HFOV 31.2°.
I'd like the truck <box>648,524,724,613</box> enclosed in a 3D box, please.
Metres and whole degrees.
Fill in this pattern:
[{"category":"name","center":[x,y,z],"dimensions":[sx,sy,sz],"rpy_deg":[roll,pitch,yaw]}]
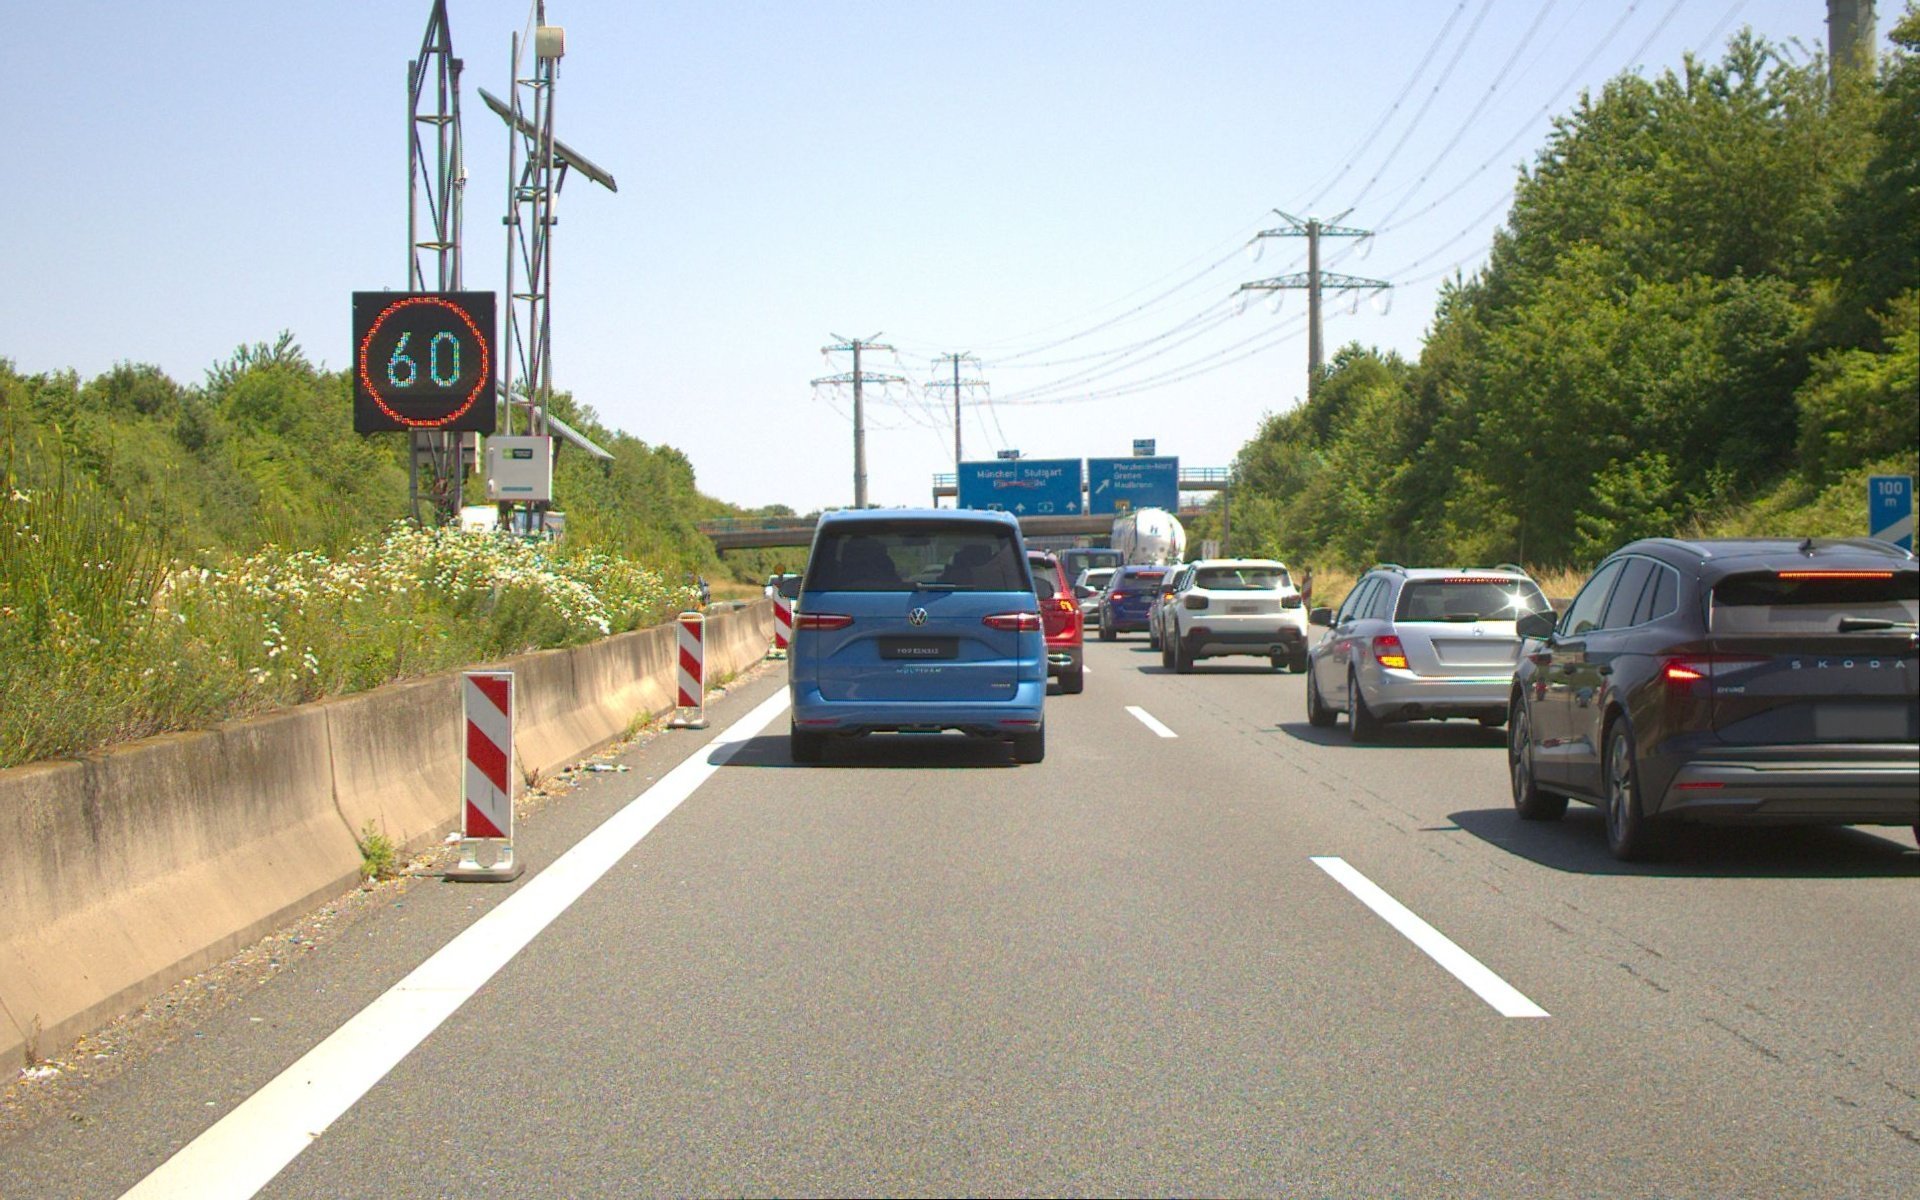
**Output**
[{"category":"truck","center":[-12.525,-1.460,157.644],"dimensions":[2.762,3.875,9.030],"rpy_deg":[-2,1,-1]}]

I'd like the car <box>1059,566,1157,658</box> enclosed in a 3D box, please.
[{"category":"car","center":[3.354,0.246,78.654],"dimensions":[1.993,2.007,4.000],"rpy_deg":[1,1,-1]}]

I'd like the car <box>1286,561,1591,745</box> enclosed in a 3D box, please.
[{"category":"car","center":[3.999,0.397,29.409],"dimensions":[1.821,1.432,4.384],"rpy_deg":[1,1,-2]}]

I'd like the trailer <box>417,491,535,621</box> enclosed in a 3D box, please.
[{"category":"trailer","center":[-15.888,-1.452,113.196],"dimensions":[2.961,4.043,5.434],"rpy_deg":[-2,1,0]}]

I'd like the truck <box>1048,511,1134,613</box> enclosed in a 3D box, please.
[{"category":"truck","center":[3.587,-1.048,94.868],"dimensions":[1.993,2.714,5.680],"rpy_deg":[1,1,-1]}]

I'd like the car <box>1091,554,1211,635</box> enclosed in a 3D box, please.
[{"category":"car","center":[3.689,-0.131,67.000],"dimensions":[1.908,1.511,4.384],"rpy_deg":[1,1,-2]}]

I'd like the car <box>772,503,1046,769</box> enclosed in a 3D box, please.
[{"category":"car","center":[-0.481,0.228,26.710],"dimensions":[1.870,1.873,4.384],"rpy_deg":[1,1,-4]}]

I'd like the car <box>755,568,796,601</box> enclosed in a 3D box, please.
[{"category":"car","center":[-8.190,-0.698,153.194],"dimensions":[1.584,1.438,4.000],"rpy_deg":[1,1,0]}]

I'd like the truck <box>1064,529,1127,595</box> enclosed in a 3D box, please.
[{"category":"truck","center":[7.513,-2.131,192.181],"dimensions":[2.644,3.526,12.553],"rpy_deg":[1,1,-1]}]

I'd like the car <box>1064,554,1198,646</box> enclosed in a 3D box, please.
[{"category":"car","center":[2.904,-0.029,59.298],"dimensions":[1.908,1.511,4.384],"rpy_deg":[1,1,-2]}]

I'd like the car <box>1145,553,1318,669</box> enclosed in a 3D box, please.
[{"category":"car","center":[3.687,0.123,47.365],"dimensions":[1.908,1.503,3.922],"rpy_deg":[1,1,-2]}]

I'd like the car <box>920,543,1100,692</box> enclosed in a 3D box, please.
[{"category":"car","center":[0.527,0.167,39.966],"dimensions":[1.908,1.625,4.384],"rpy_deg":[0,1,-1]}]

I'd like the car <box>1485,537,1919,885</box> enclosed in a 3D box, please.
[{"category":"car","center":[4.079,0.477,18.173],"dimensions":[1.828,1.609,4.431],"rpy_deg":[0,1,-1]}]

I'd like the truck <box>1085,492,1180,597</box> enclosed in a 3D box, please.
[{"category":"truck","center":[7.011,-2.257,141.642],"dimensions":[2.644,4.058,16.442],"rpy_deg":[1,1,-1]}]
